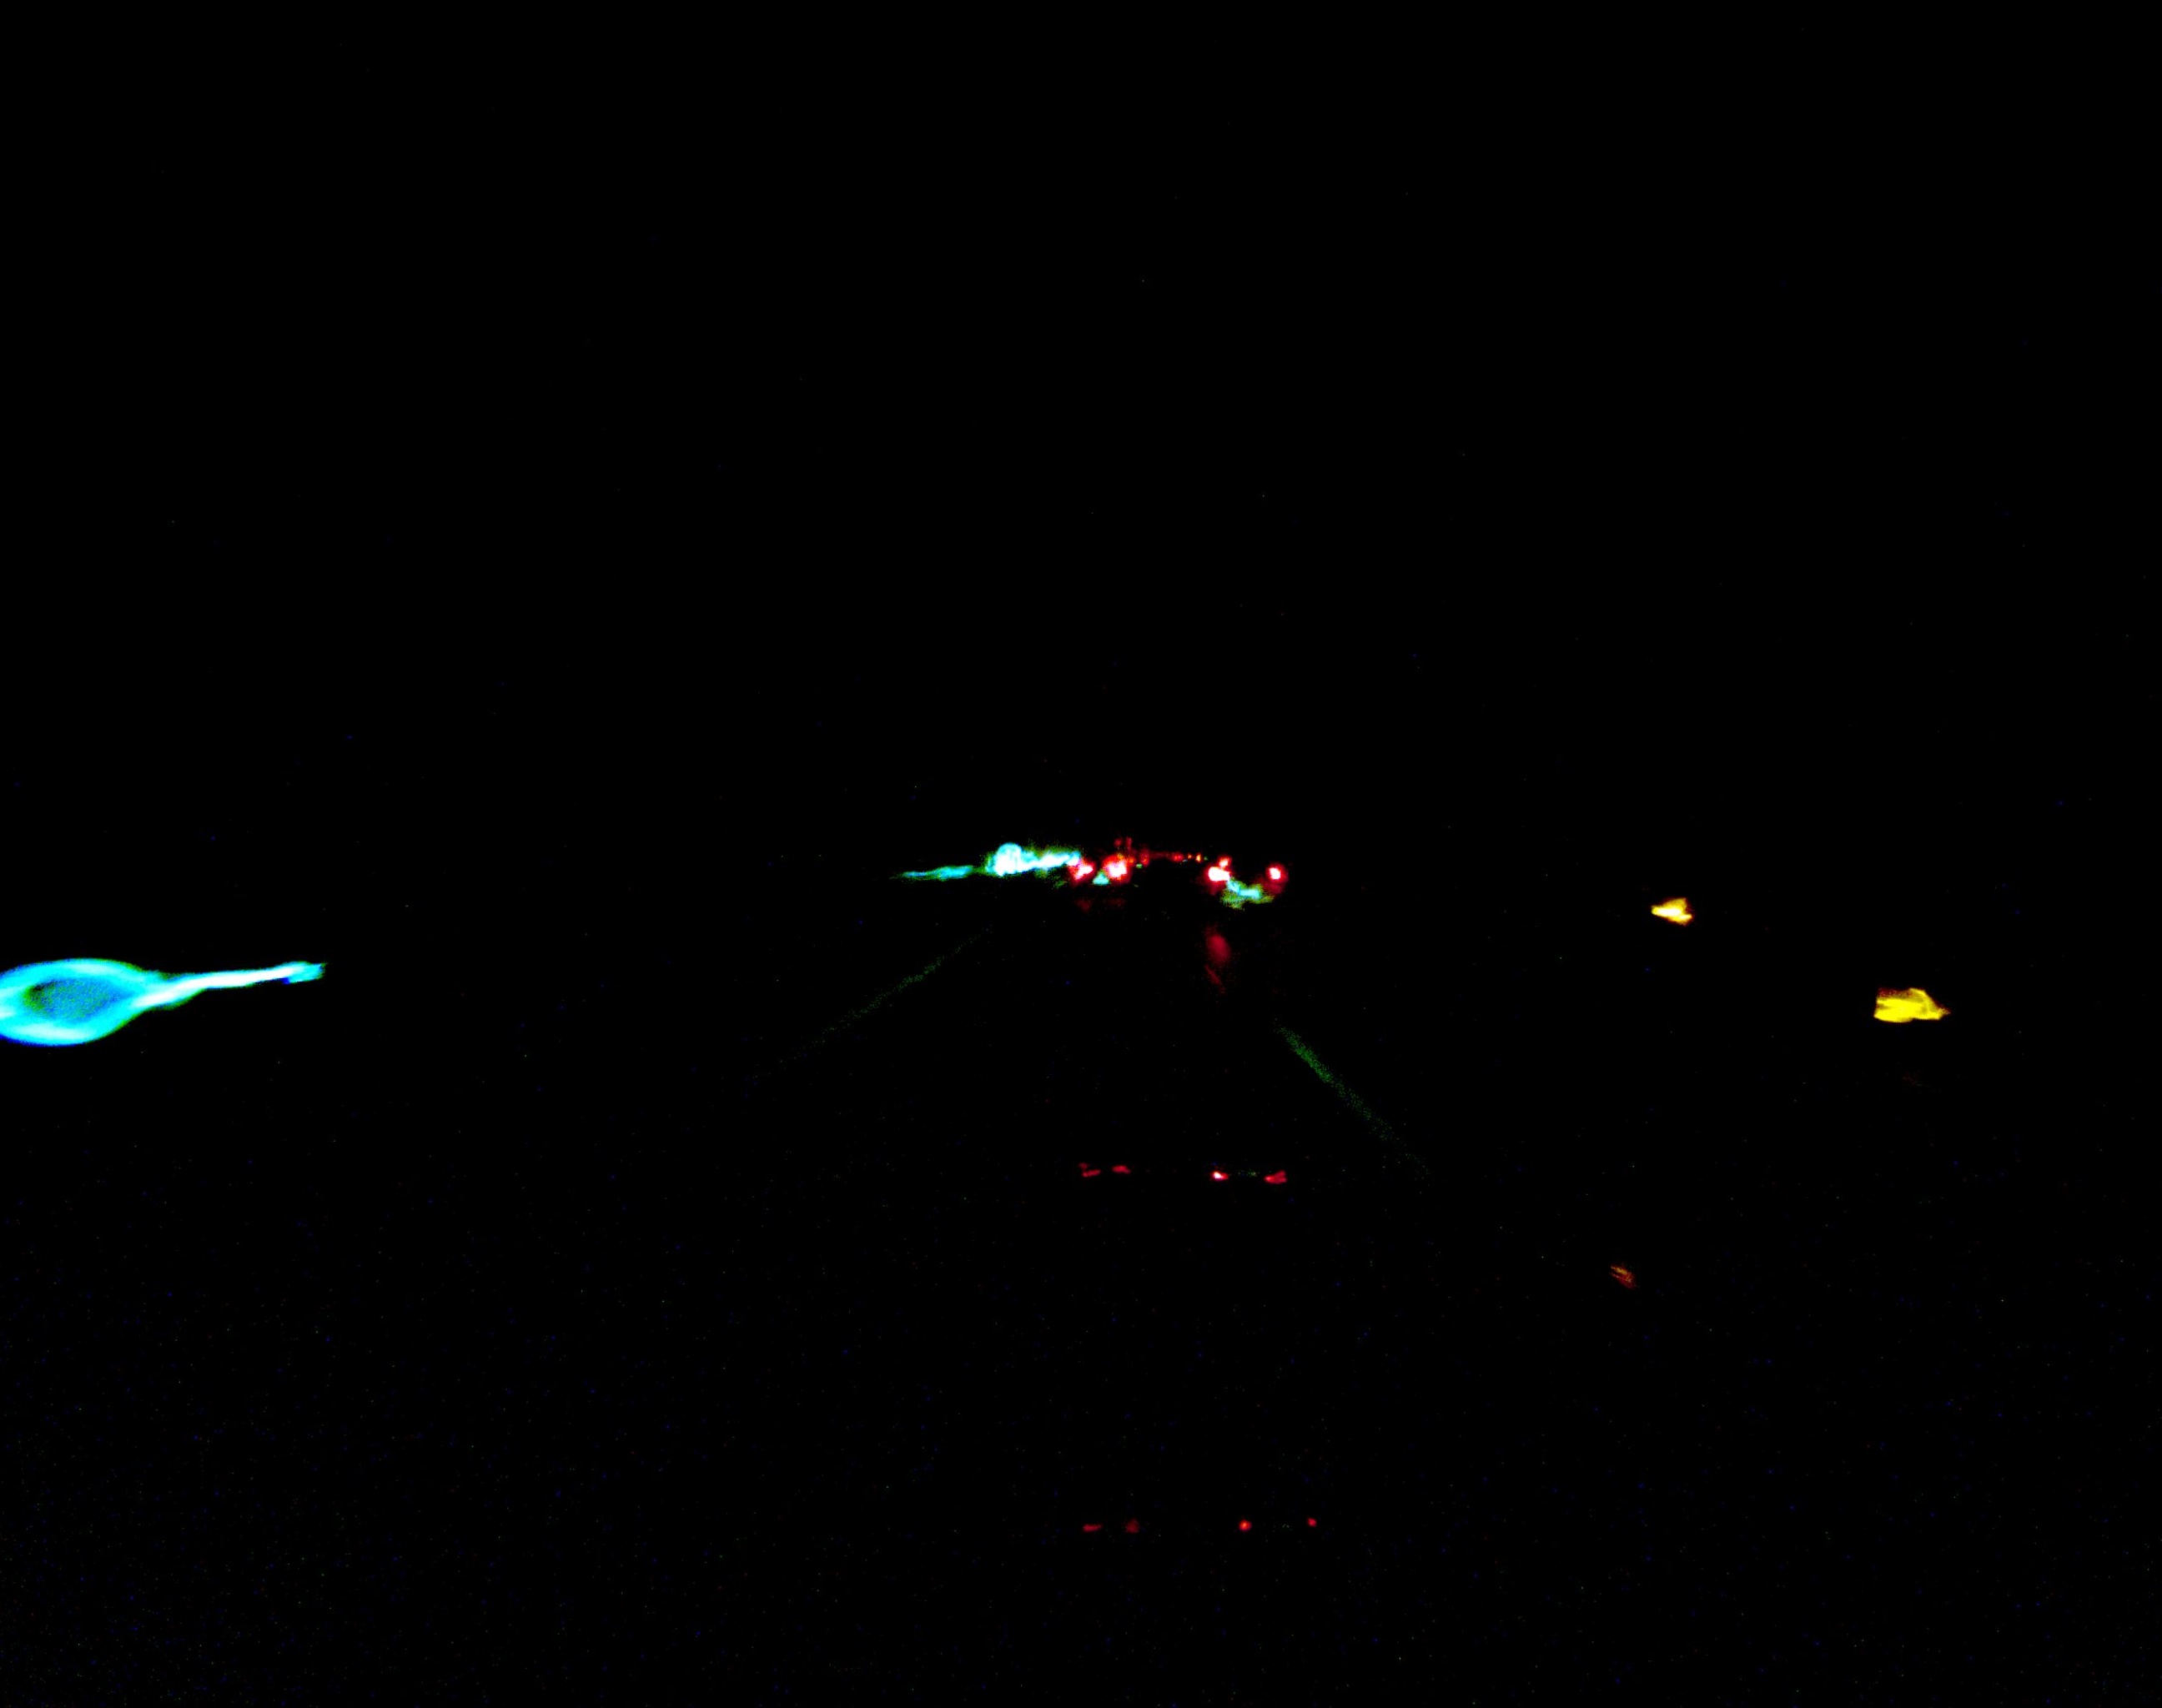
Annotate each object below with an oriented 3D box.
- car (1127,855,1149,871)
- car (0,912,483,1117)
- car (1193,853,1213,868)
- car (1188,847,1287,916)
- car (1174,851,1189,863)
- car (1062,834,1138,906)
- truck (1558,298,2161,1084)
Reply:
[{"bbox_3d":[5.761,0.885,82.212,2.128,1.618,4.003,0,0,3],"label":"car"},{"bbox_3d":[-9.529,1.626,9.583,1.704,1.563,4.297,-2,-1,1],"label":"car"},{"bbox_3d":[13.734,0.694,91.742,1.848,1.618,4.003,0,0,3],"label":"car"},{"bbox_3d":[3.898,0.630,20.953,1.877,1.588,4.001,-1,0,1],"label":"car"},{"bbox_3d":[14.324,0.437,116.608,1.848,1.618,4.003,0,0,3],"label":"car"},{"bbox_3d":[0.731,0.569,33.332,2.701,2.534,5.830,-3,0,0],"label":"car"},{"bbox_3d":[7.342,-0.894,6.542,2.793,4.267,7.450,-1,0,2],"label":"truck"}]
